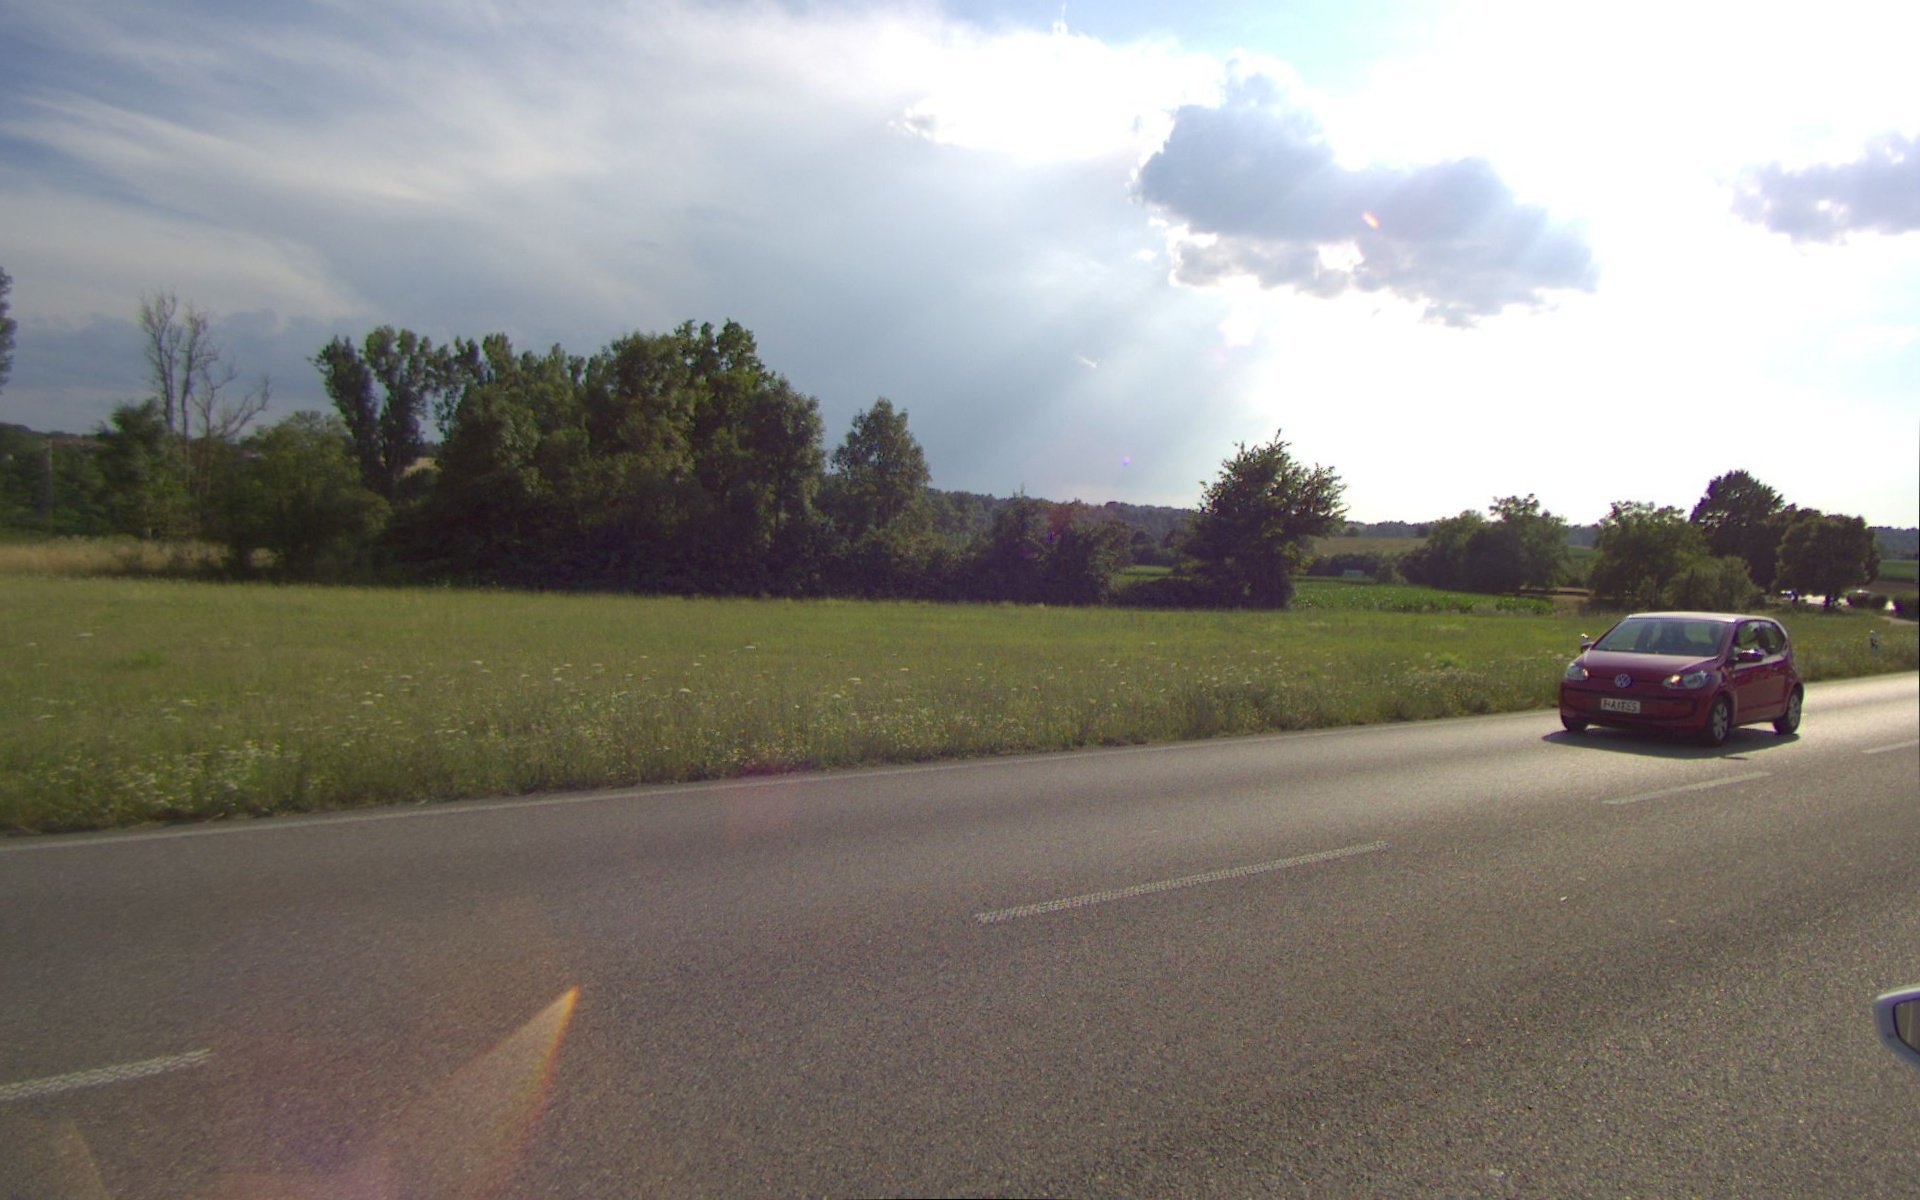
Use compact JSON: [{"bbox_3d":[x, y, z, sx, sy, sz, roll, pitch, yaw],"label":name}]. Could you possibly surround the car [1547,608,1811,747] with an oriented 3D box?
[{"bbox_3d":[8.934,0.860,12.419,3.571,1.486,1.575,1,-1,-35],"label":"car"}]
